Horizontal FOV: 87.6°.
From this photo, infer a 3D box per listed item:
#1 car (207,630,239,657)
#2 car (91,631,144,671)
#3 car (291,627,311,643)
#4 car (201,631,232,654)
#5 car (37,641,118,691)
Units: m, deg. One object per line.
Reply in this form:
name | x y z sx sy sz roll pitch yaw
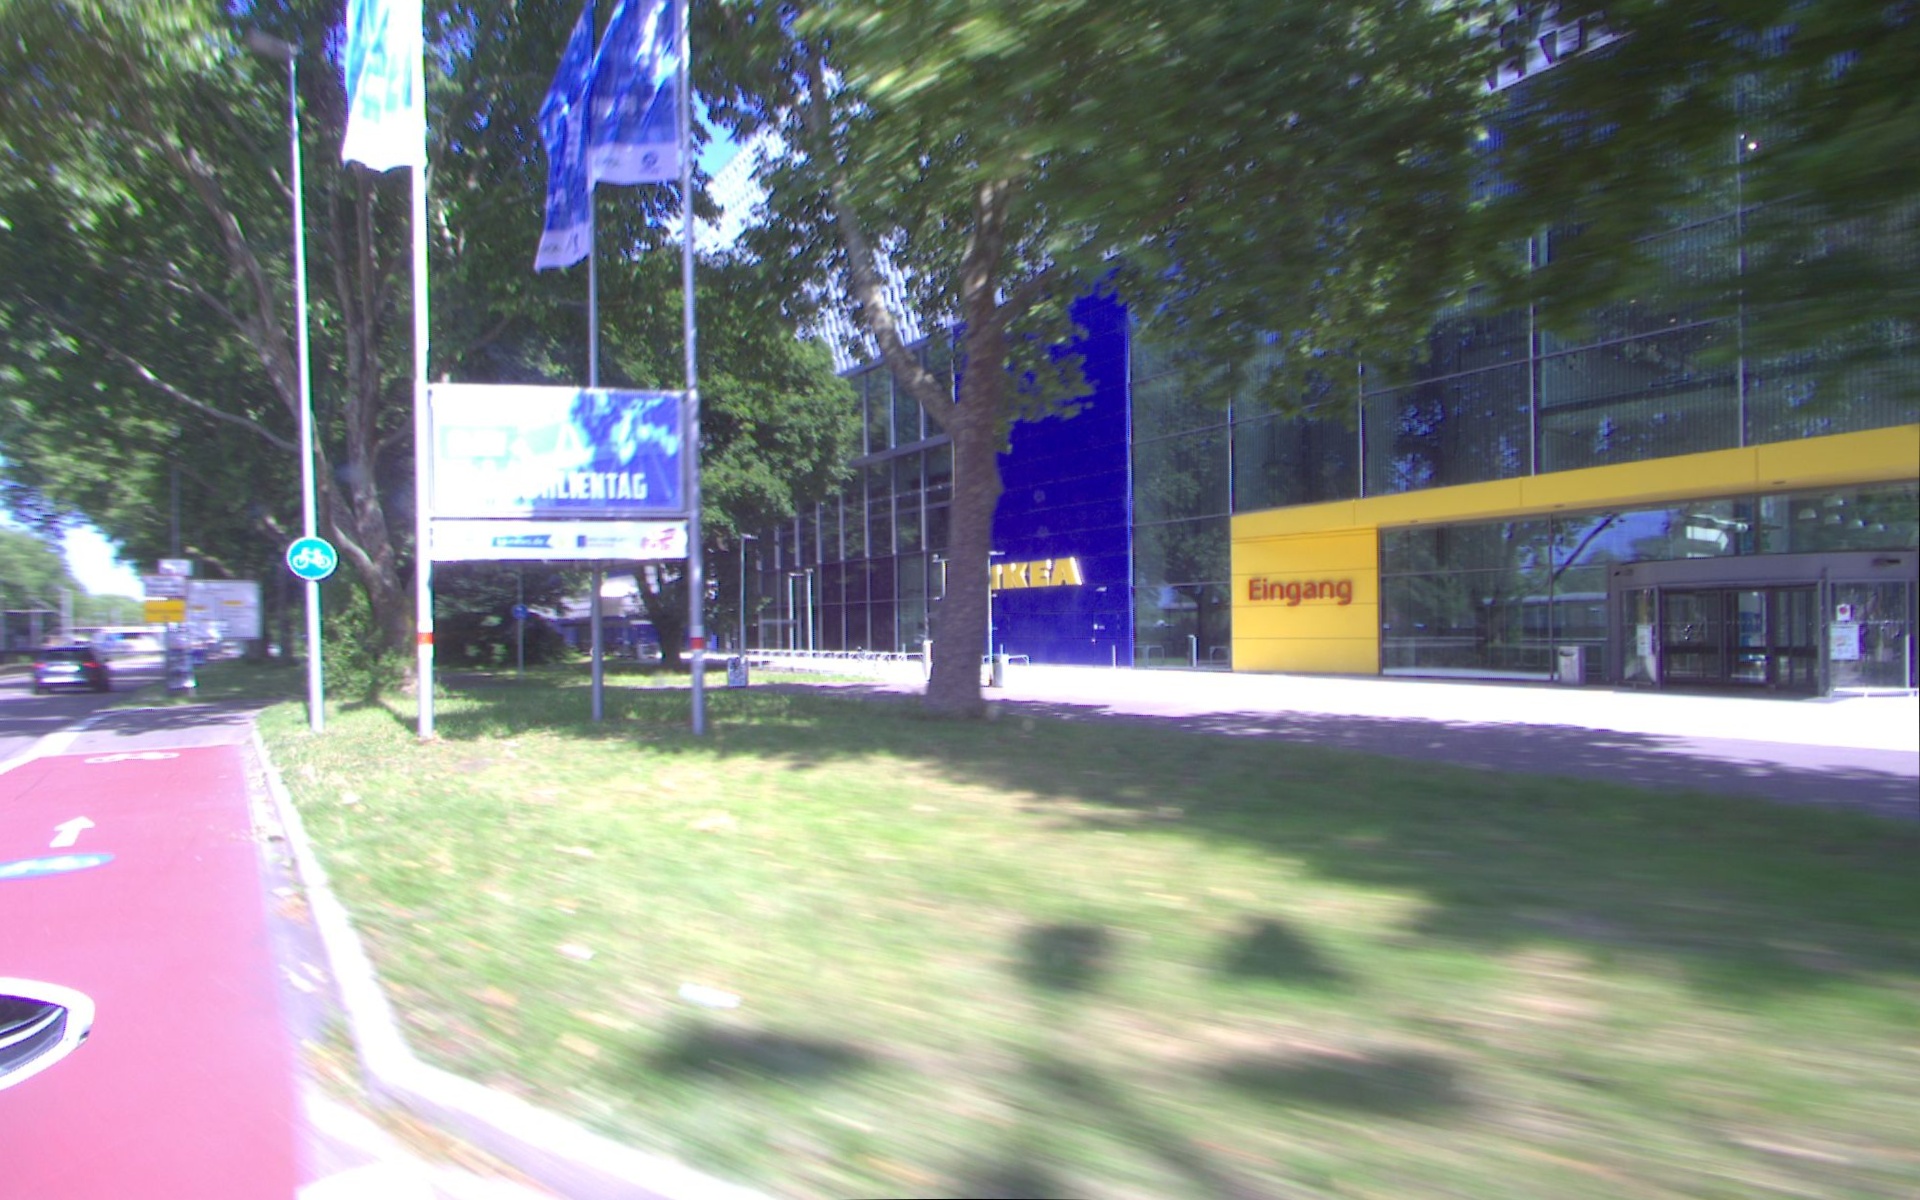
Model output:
car | -58.771 3.435 79.839 1.976 2.039 3.971 0 -1 -37
car | -45.528 2.753 54.155 1.976 2.039 3.971 0 -1 -37
car | -88.632 4.748 134.699 1.972 2.039 3.979 -1 -1 -31
car | -68.266 3.900 91.983 1.944 2.039 3.979 -1 -1 -31
car | -29.198 2.161 33.213 1.655 1.542 3.355 1 -3 -36
